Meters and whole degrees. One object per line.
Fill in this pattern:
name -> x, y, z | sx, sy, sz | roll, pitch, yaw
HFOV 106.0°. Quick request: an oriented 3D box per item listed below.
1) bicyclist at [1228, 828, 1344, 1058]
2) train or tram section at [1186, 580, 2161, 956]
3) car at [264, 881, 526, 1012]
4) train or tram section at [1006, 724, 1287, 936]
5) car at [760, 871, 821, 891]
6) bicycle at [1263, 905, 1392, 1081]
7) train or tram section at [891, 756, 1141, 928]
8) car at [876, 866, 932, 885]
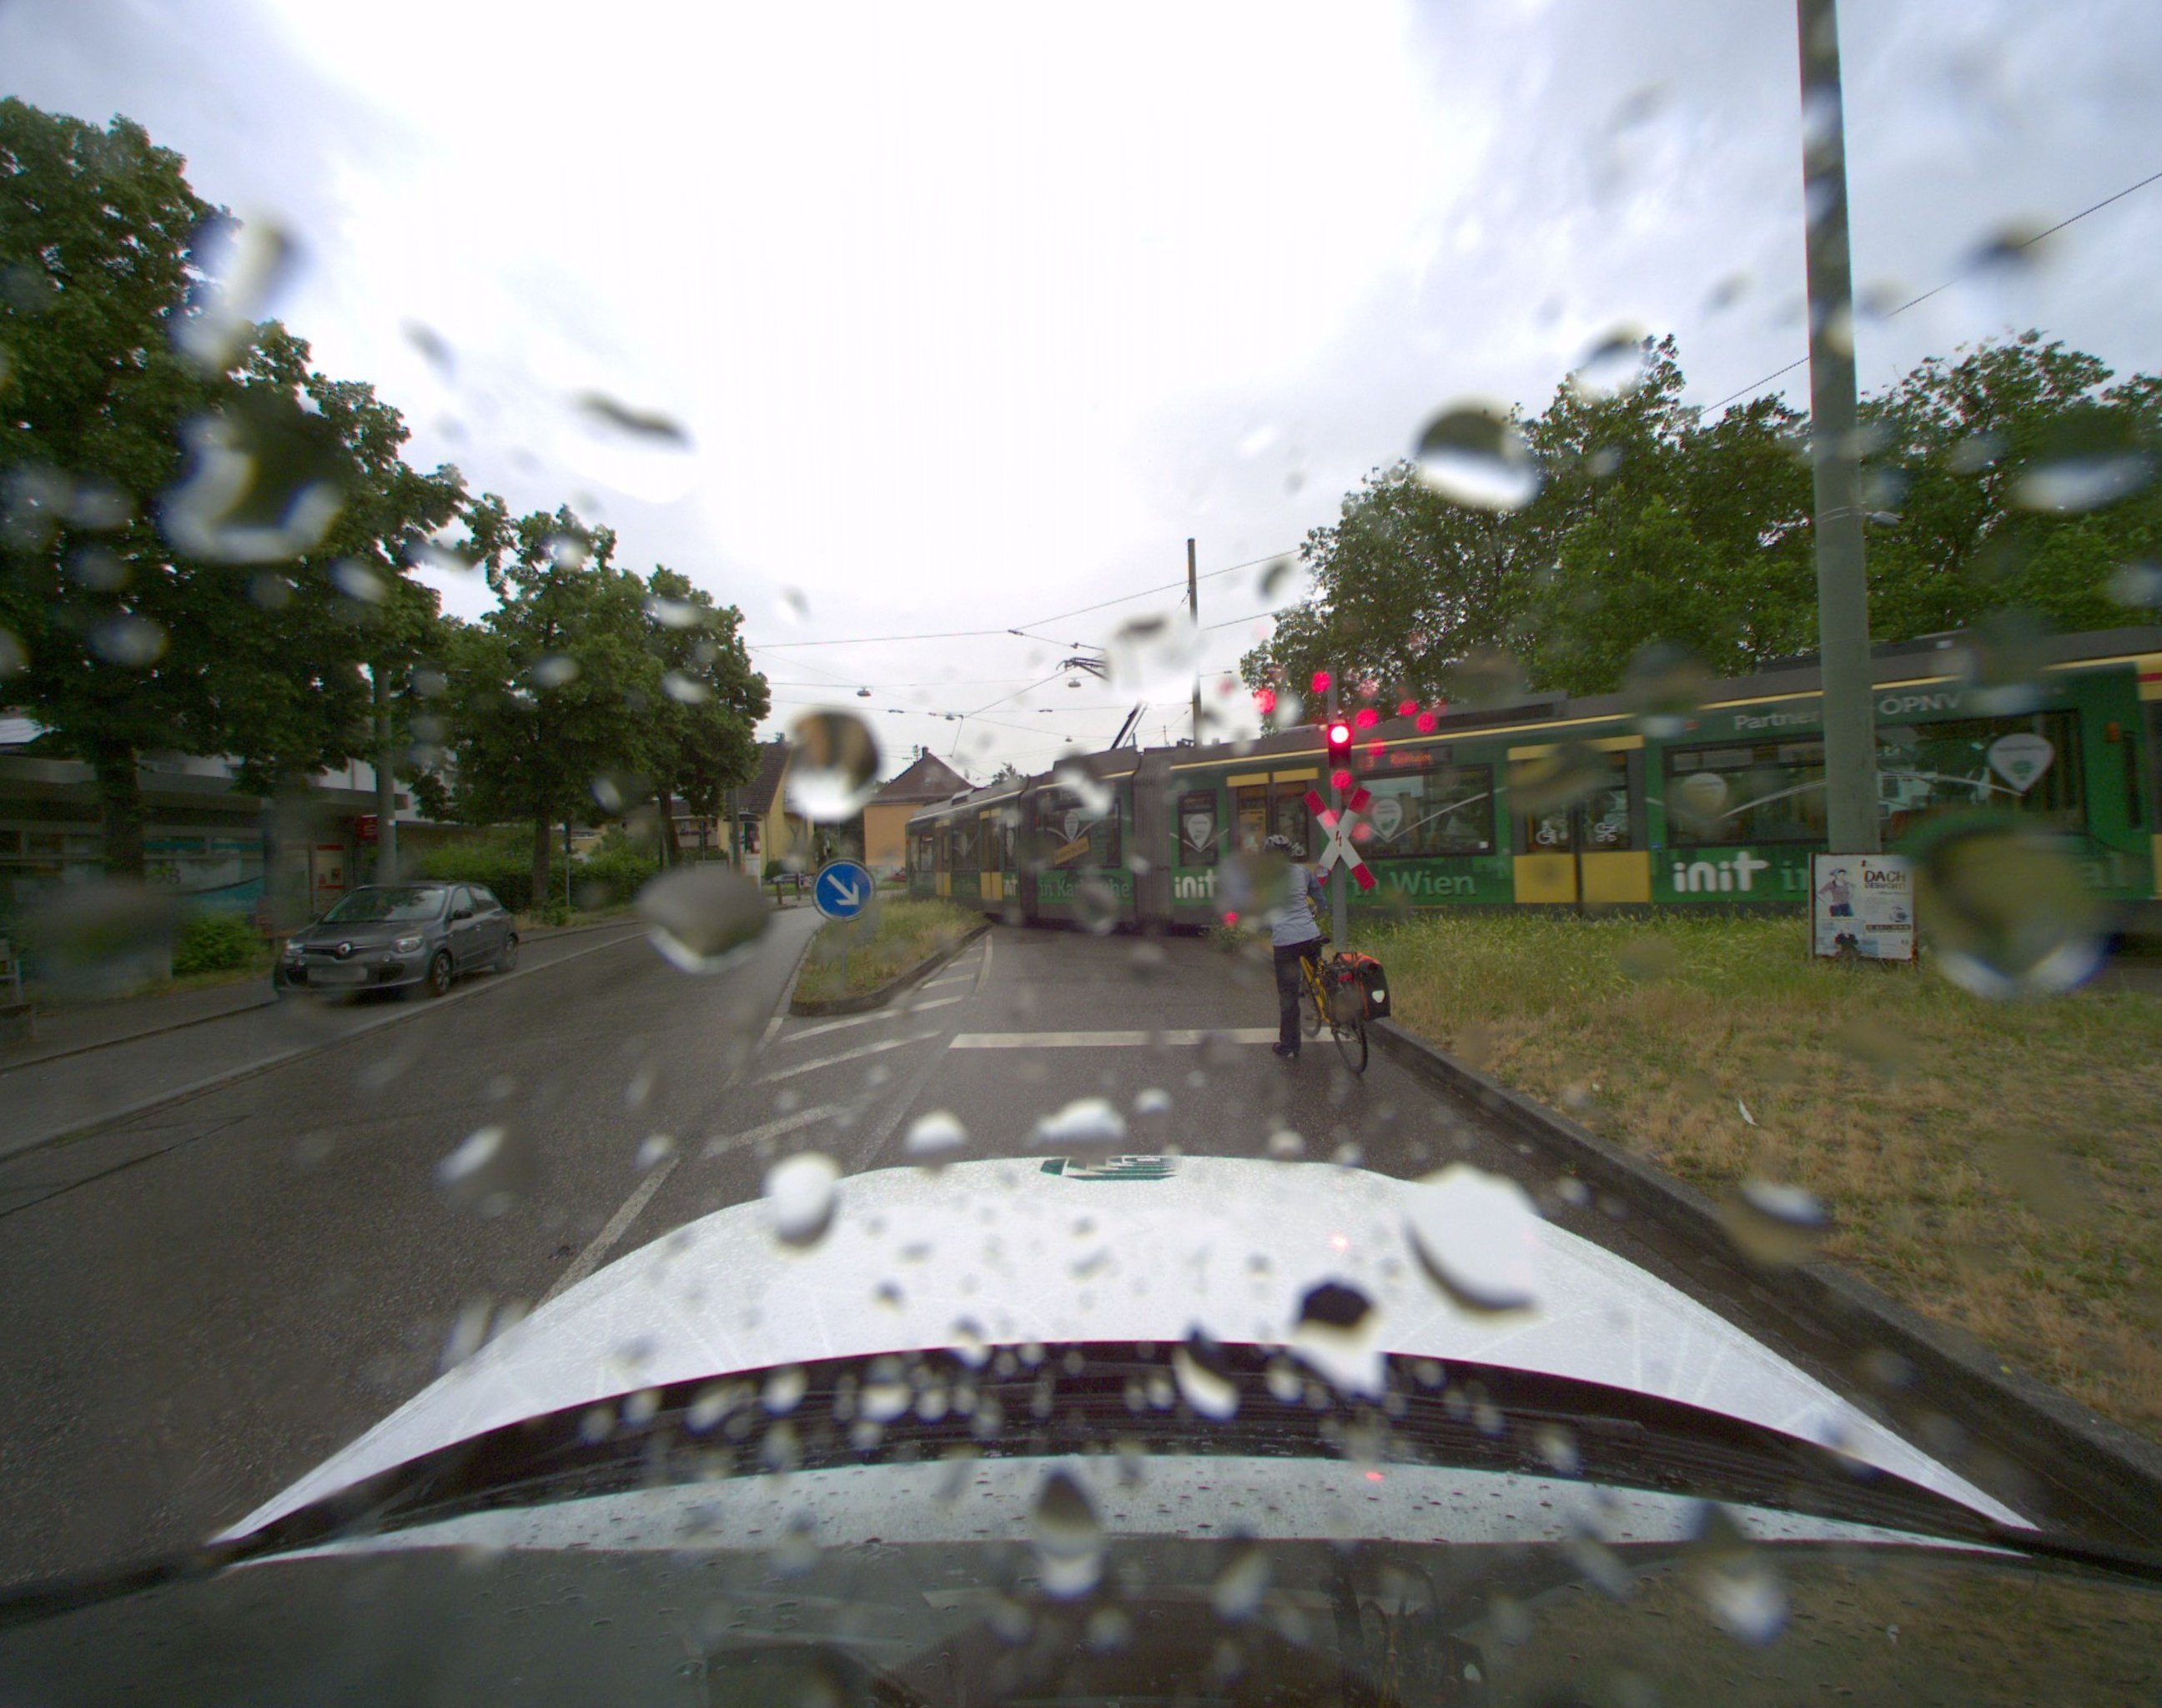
bicyclist -> 1.533, 0.635, 6.213 | 0.665, 1.626, 0.853 | 0, -1, 1
train or tram section -> 7.548, -0.668, 11.365 | 12.045, 3.553, 2.787 | -3, -1, 36
car -> -9.692, 1.192, 11.885 | 1.621, 1.496, 3.645 | 0, -1, -18
train or tram section -> 1.157, -0.358, 16.368 | 2.785, 3.553, 4.927 | -2, -1, -42
car -> -22.105, 2.032, 62.034 | 3.979, 1.456, 1.831 | 0, -1, -5
bicycle -> 1.792, 0.955, 6.144 | 0.444, 1.004, 1.728 | -2, 0, 1
train or tram section -> -2.684, -0.160, 23.323 | 2.774, 3.553, 13.025 | -2, 0, -24
car -> -13.660, 1.653, 63.079 | 3.979, 1.456, 1.831 | 0, -1, -5
